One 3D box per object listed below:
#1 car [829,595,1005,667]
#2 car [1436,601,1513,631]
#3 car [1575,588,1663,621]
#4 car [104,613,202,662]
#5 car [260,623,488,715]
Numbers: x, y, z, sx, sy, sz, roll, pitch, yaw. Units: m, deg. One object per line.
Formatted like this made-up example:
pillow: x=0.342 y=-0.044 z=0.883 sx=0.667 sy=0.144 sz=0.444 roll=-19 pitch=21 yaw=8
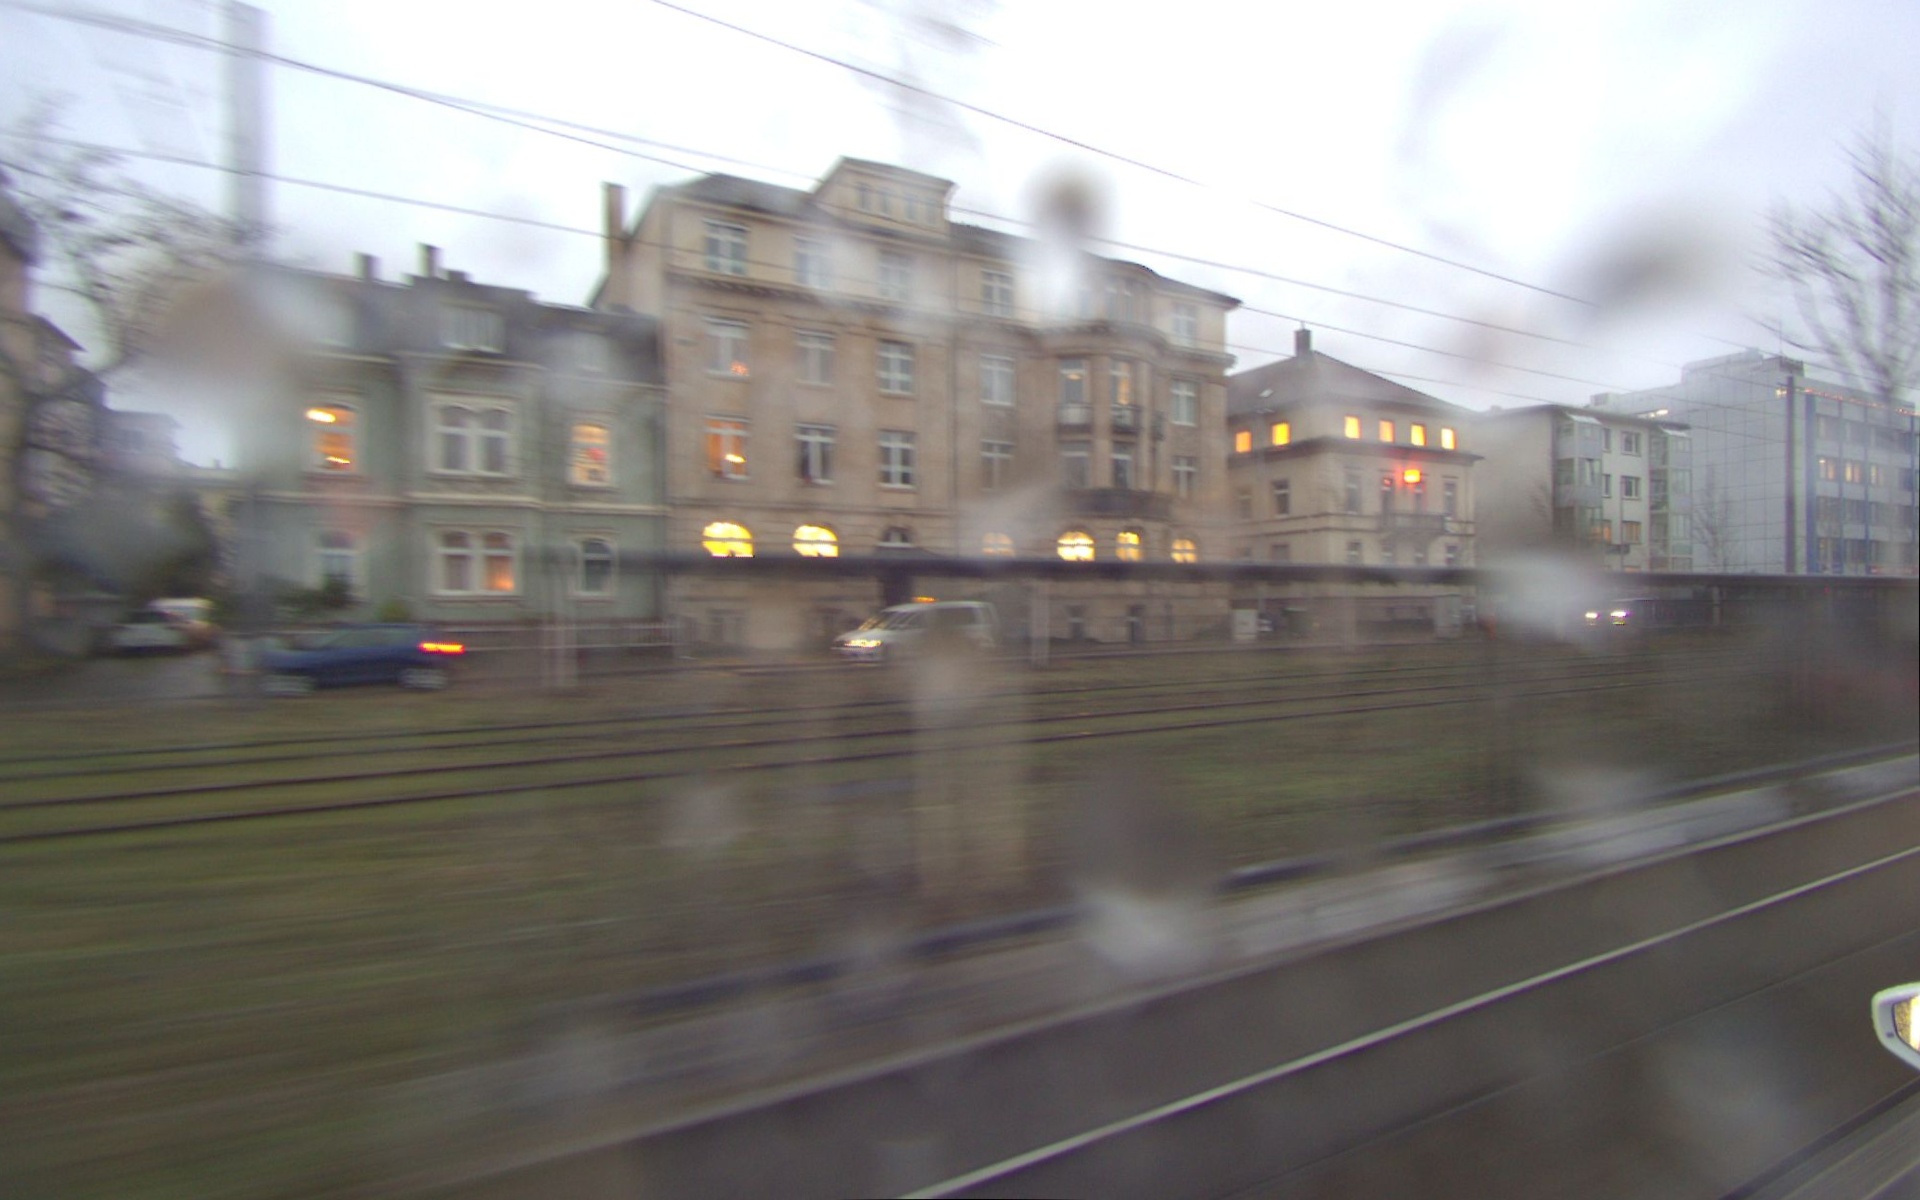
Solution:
car: x=-1.241 y=0.870 z=29.839 sx=4.857 sy=1.958 sz=1.983 roll=-1 pitch=-1 yaw=-32
car: x=26.538 y=0.812 z=51.795 sx=3.883 sy=1.455 sz=1.797 roll=-1 pitch=-1 yaw=-32
car: x=33.633 y=0.206 z=51.260 sx=4.375 sy=1.653 sz=1.985 roll=0 pitch=0 yaw=-29
car: x=-25.452 y=1.140 z=31.813 sx=1.812 sy=1.425 sz=3.968 roll=0 pitch=0 yaw=-30
car: x=-12.519 y=1.400 z=21.643 sx=4.065 sy=1.715 sz=1.983 roll=-1 pitch=-1 yaw=-32
